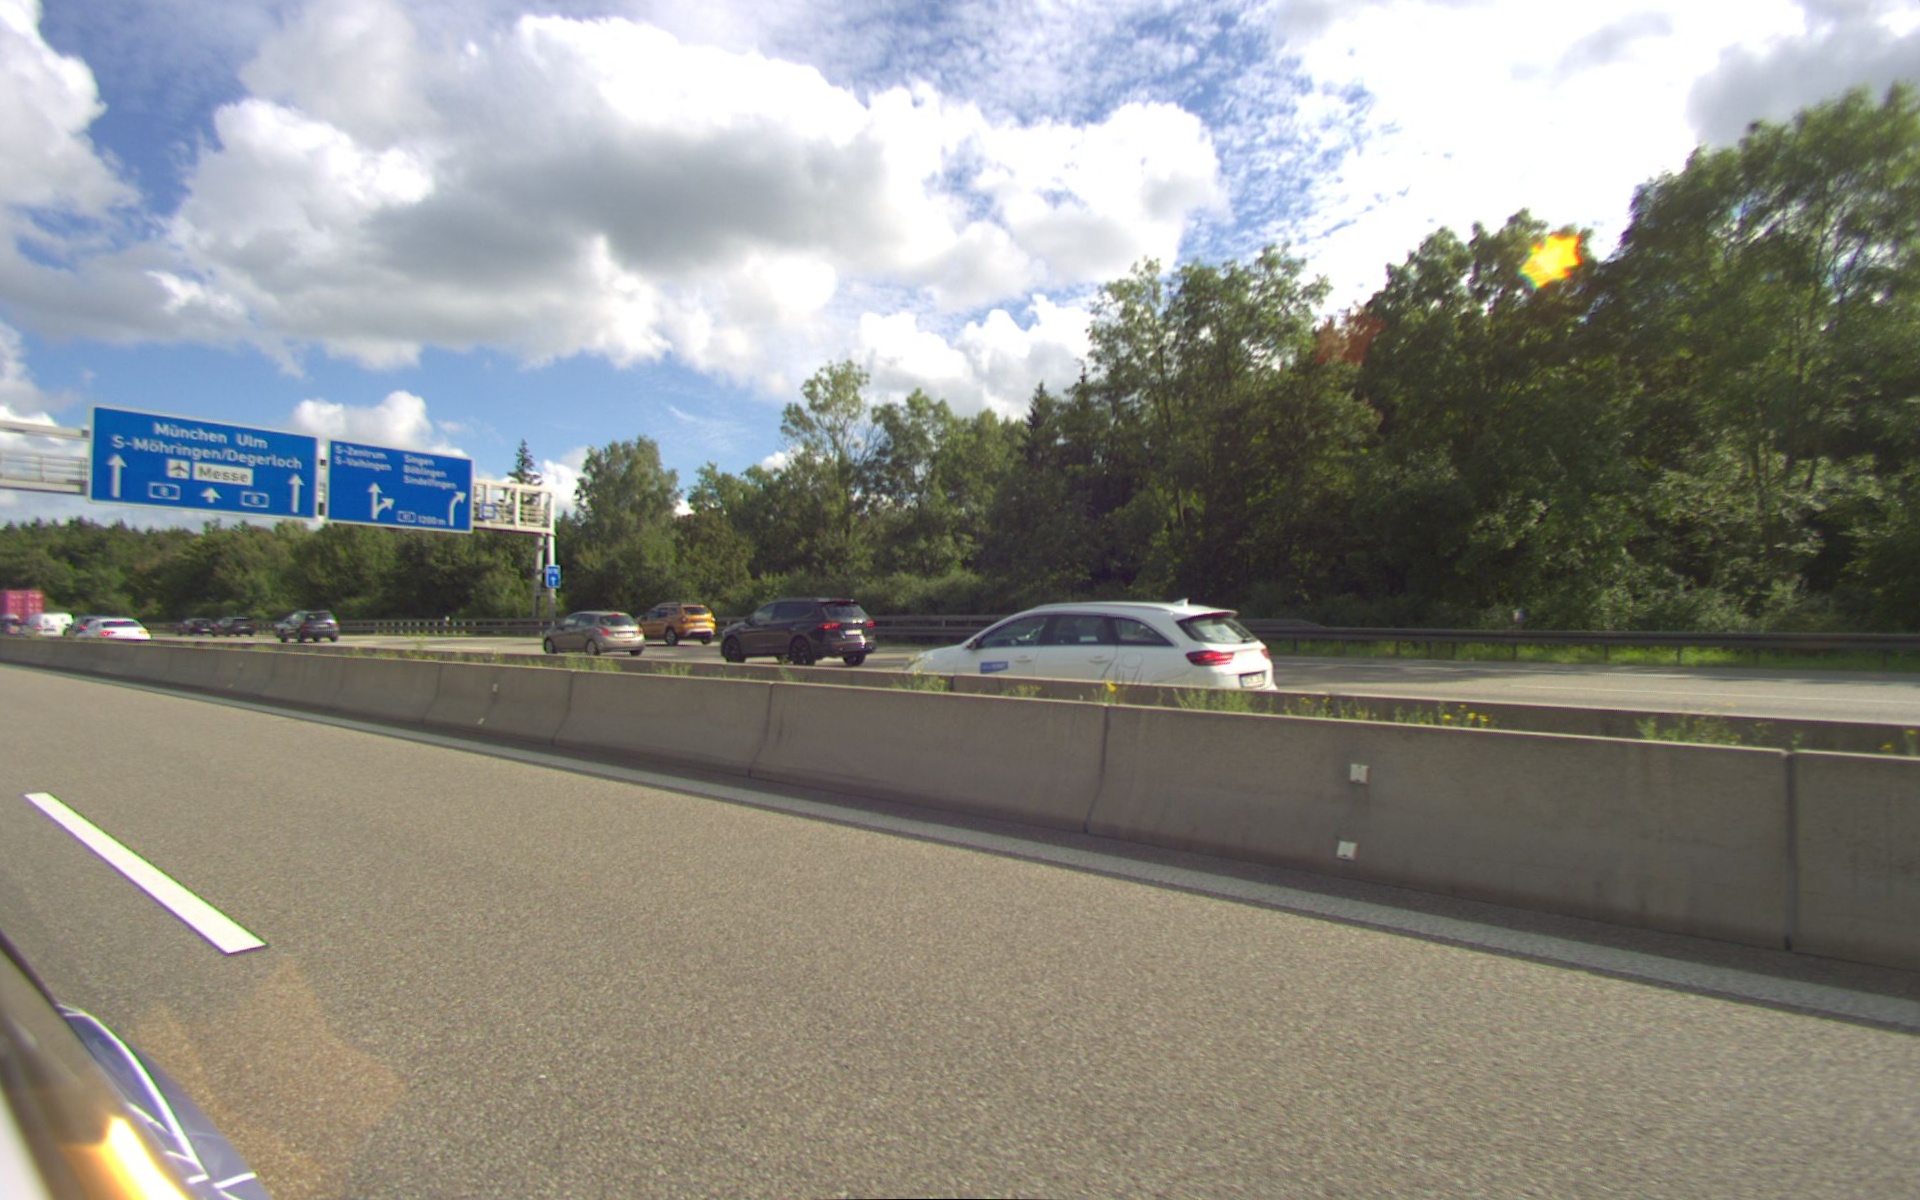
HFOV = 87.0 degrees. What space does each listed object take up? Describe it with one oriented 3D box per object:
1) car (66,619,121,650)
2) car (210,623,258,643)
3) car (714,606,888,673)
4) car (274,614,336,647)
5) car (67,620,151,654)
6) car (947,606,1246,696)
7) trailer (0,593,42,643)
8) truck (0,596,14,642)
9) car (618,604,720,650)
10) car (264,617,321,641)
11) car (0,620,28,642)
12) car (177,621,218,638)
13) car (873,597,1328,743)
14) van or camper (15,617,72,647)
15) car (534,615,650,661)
[{"bbox_3d":[-50.059,1.973,58.416,4.494,1.642,1.681,-1,-1,40],"label":"car"},{"bbox_3d":[-54.427,2.445,75.869,4.701,1.451,1.685,-1,-1,38],"label":"car"},{"bbox_3d":[-3.964,0.919,24.749,4.630,1.490,1.703,-1,-1,43],"label":"car"},{"bbox_3d":[-35.479,1.638,54.763,4.477,1.652,1.649,-1,-1,41],"label":"car"},{"bbox_3d":[-35.247,1.506,41.854,4.874,1.320,1.707,-1,-1,38],"label":"car"},{"bbox_3d":[2.036,0.739,15.868,4.434,1.209,1.631,-1,-1,38],"label":"car"},{"bbox_3d":[-84.493,1.635,89.383,13.395,4.138,2.713,-1,-1,38],"label":"trailer"},{"bbox_3d":[-89.839,1.764,93.492,5.755,4.138,2.714,-1,-1,37],"label":"truck"},{"bbox_3d":[-11.747,1.062,40.690,4.421,1.729,1.908,-1,-1,42],"label":"car"},{"bbox_3d":[-45.737,1.960,69.325,5.125,1.557,1.799,-1,-1,39],"label":"car"},{"bbox_3d":[-70.219,2.244,74.491,4.679,1.540,1.682,-1,-1,39],"label":"car"},{"bbox_3d":[-62.534,2.434,82.981,4.177,1.298,1.685,-1,-1,38],"label":"car"},{"bbox_3d":[1.408,0.673,11.491,4.829,1.318,1.973,-1,-1,41],"label":"car"},{"bbox_3d":[-59.320,2.043,65.463,5.147,1.864,1.844,-1,-1,38],"label":"van or camper"},{"bbox_3d":[-11.689,1.170,32.021,3.995,1.364,1.621,-1,-1,39],"label":"car"}]
